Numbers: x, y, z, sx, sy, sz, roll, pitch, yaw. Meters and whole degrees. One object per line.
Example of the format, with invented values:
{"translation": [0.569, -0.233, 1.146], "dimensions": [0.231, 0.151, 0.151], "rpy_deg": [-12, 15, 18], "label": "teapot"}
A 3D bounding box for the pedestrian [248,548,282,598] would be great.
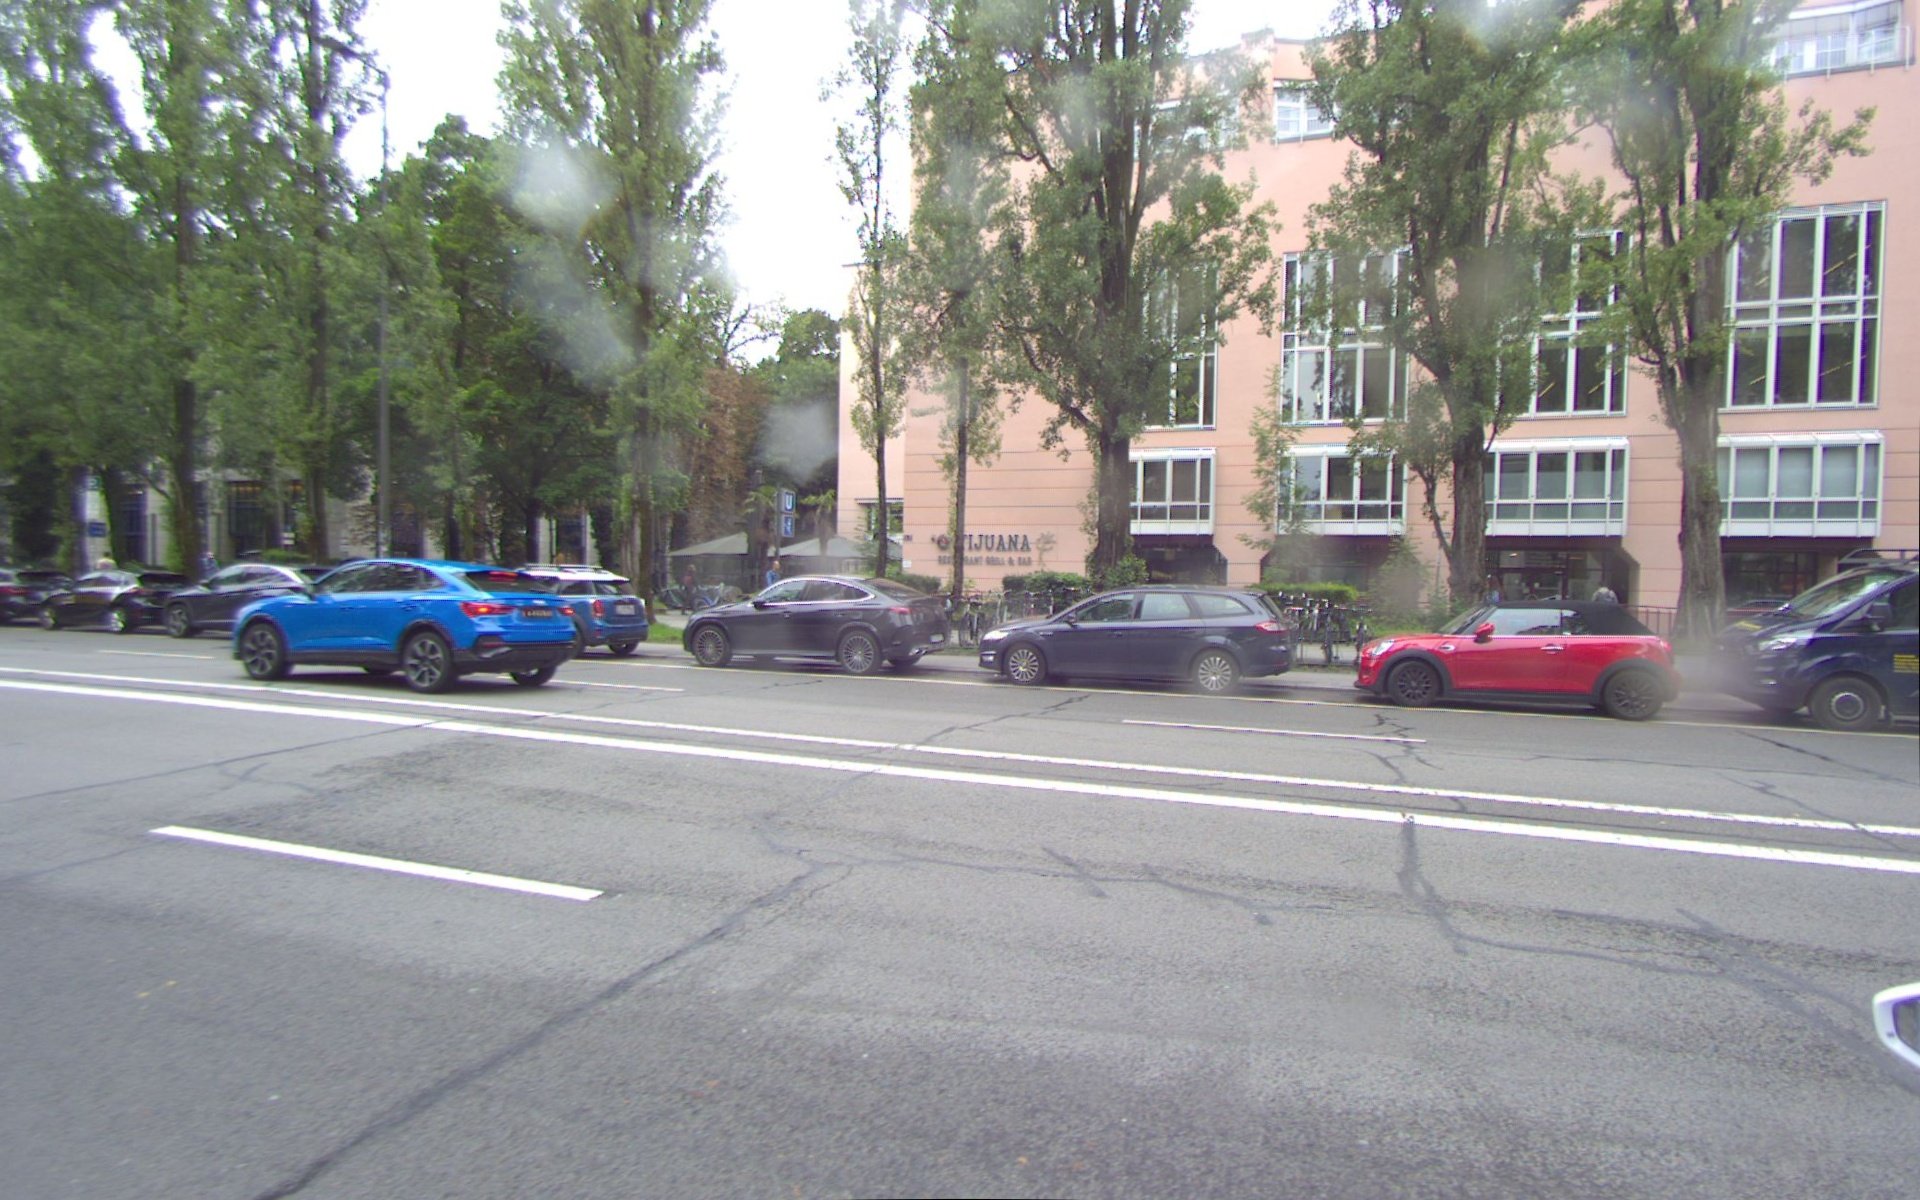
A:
{"translation": [-24.716, -0.949, 35.722], "dimensions": [0.717, 1.737, 0.709], "rpy_deg": [2, 1, 21], "label": "pedestrian"}

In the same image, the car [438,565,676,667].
{"translation": [-7.674, 0.262, 19.185], "dimensions": [3.997, 1.755, 1.794], "rpy_deg": [1, 0, 19], "label": "car"}

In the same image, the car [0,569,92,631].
{"translation": [-23.658, -0.041, 24.783], "dimensions": [3.805, 1.431, 1.793], "rpy_deg": [1, 1, 20], "label": "car"}

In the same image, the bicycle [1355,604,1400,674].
{"translation": [7.481, 0.669, 18.060], "dimensions": [0.663, 1.139, 1.729], "rpy_deg": [1, 1, 20], "label": "bicycle"}

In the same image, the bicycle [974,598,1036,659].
{"translation": [0.934, 0.546, 20.395], "dimensions": [0.663, 1.139, 1.988], "rpy_deg": [1, 1, 20], "label": "bicycle"}

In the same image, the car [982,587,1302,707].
{"translation": [2.767, 0.623, 15.270], "dimensions": [4.532, 1.549, 1.793], "rpy_deg": [1, 1, 20], "label": "car"}

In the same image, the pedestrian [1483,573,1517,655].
{"translation": [11.354, 0.277, 21.130], "dimensions": [0.548, 1.686, 0.620], "rpy_deg": [2, 2, 24], "label": "pedestrian"}

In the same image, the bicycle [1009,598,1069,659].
{"translation": [1.606, 0.536, 20.133], "dimensions": [0.663, 1.139, 1.988], "rpy_deg": [1, 1, 20], "label": "bicycle"}

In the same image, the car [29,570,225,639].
{"translation": [-19.125, 0.070, 23.081], "dimensions": [3.805, 1.431, 1.793], "rpy_deg": [1, 1, 20], "label": "car"}

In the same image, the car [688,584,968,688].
{"translation": [-2.252, 0.535, 17.175], "dimensions": [4.426, 1.549, 1.793], "rpy_deg": [1, 1, 20], "label": "car"}

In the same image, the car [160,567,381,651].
{"translation": [-14.581, 0.144, 21.263], "dimensions": [4.153, 1.622, 1.793], "rpy_deg": [1, 1, 20], "label": "car"}

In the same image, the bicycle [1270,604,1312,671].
{"translation": [6.140, 0.660, 18.584], "dimensions": [0.663, 1.139, 1.741], "rpy_deg": [1, 1, 20], "label": "bicycle"}

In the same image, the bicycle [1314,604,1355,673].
{"translation": [6.826, 0.672, 18.319], "dimensions": [0.663, 1.139, 1.741], "rpy_deg": [1, 1, 20], "label": "bicycle"}

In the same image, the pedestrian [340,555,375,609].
{"translation": [-19.945, -0.601, 33.245], "dimensions": [0.717, 1.737, 0.709], "rpy_deg": [2, 1, 21], "label": "pedestrian"}

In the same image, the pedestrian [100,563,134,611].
{"translation": [-31.046, -0.489, 37.007], "dimensions": [0.717, 1.737, 0.709], "rpy_deg": [2, 1, 21], "label": "pedestrian"}

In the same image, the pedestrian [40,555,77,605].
{"translation": [-31.983, -0.714, 35.637], "dimensions": [0.717, 1.737, 0.709], "rpy_deg": [2, 1, 21], "label": "pedestrian"}

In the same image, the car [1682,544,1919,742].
{"translation": [12.105, 0.496, 11.874], "dimensions": [5.389, 2.227, 2.023], "rpy_deg": [1, 1, 20], "label": "car"}

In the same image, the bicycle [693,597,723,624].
{"translation": [-7.831, 0.317, 31.221], "dimensions": [0.319, 0.809, 1.028], "rpy_deg": [2, 1, 27], "label": "bicycle"}

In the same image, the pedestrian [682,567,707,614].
{"translation": [-10.063, -0.364, 38.106], "dimensions": [0.876, 1.737, 0.735], "rpy_deg": [1, 1, -14], "label": "pedestrian"}

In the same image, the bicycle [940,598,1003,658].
{"translation": [0.257, 0.554, 20.662], "dimensions": [0.663, 1.139, 1.988], "rpy_deg": [1, 1, 20], "label": "bicycle"}

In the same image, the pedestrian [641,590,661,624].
{"translation": [-15.956, 0.343, 51.842], "dimensions": [0.695, 1.737, 0.732], "rpy_deg": [1, 1, 18], "label": "pedestrian"}

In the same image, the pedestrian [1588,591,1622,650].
{"translation": [19.385, 0.595, 30.216], "dimensions": [0.695, 1.737, 0.731], "rpy_deg": [2, 1, 23], "label": "pedestrian"}

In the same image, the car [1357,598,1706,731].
{"translation": [7.352, 0.761, 13.375], "dimensions": [3.798, 1.468, 1.677], "rpy_deg": [1, 1, 23], "label": "car"}

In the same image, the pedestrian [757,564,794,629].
{"translation": [-5.044, -0.105, 27.477], "dimensions": [0.717, 1.737, 0.709], "rpy_deg": [2, 1, 21], "label": "pedestrian"}

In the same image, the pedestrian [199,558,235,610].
{"translation": [-25.215, -0.536, 34.095], "dimensions": [0.717, 1.737, 0.709], "rpy_deg": [2, 1, 21], "label": "pedestrian"}

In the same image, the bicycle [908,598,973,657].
{"translation": [-0.384, 0.537, 20.912], "dimensions": [0.663, 1.139, 1.988], "rpy_deg": [1, 1, 20], "label": "bicycle"}

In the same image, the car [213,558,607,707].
{"translation": [-6.881, 0.342, 12.629], "dimensions": [4.334, 1.600, 1.872], "rpy_deg": [1, 0, 18], "label": "car"}
